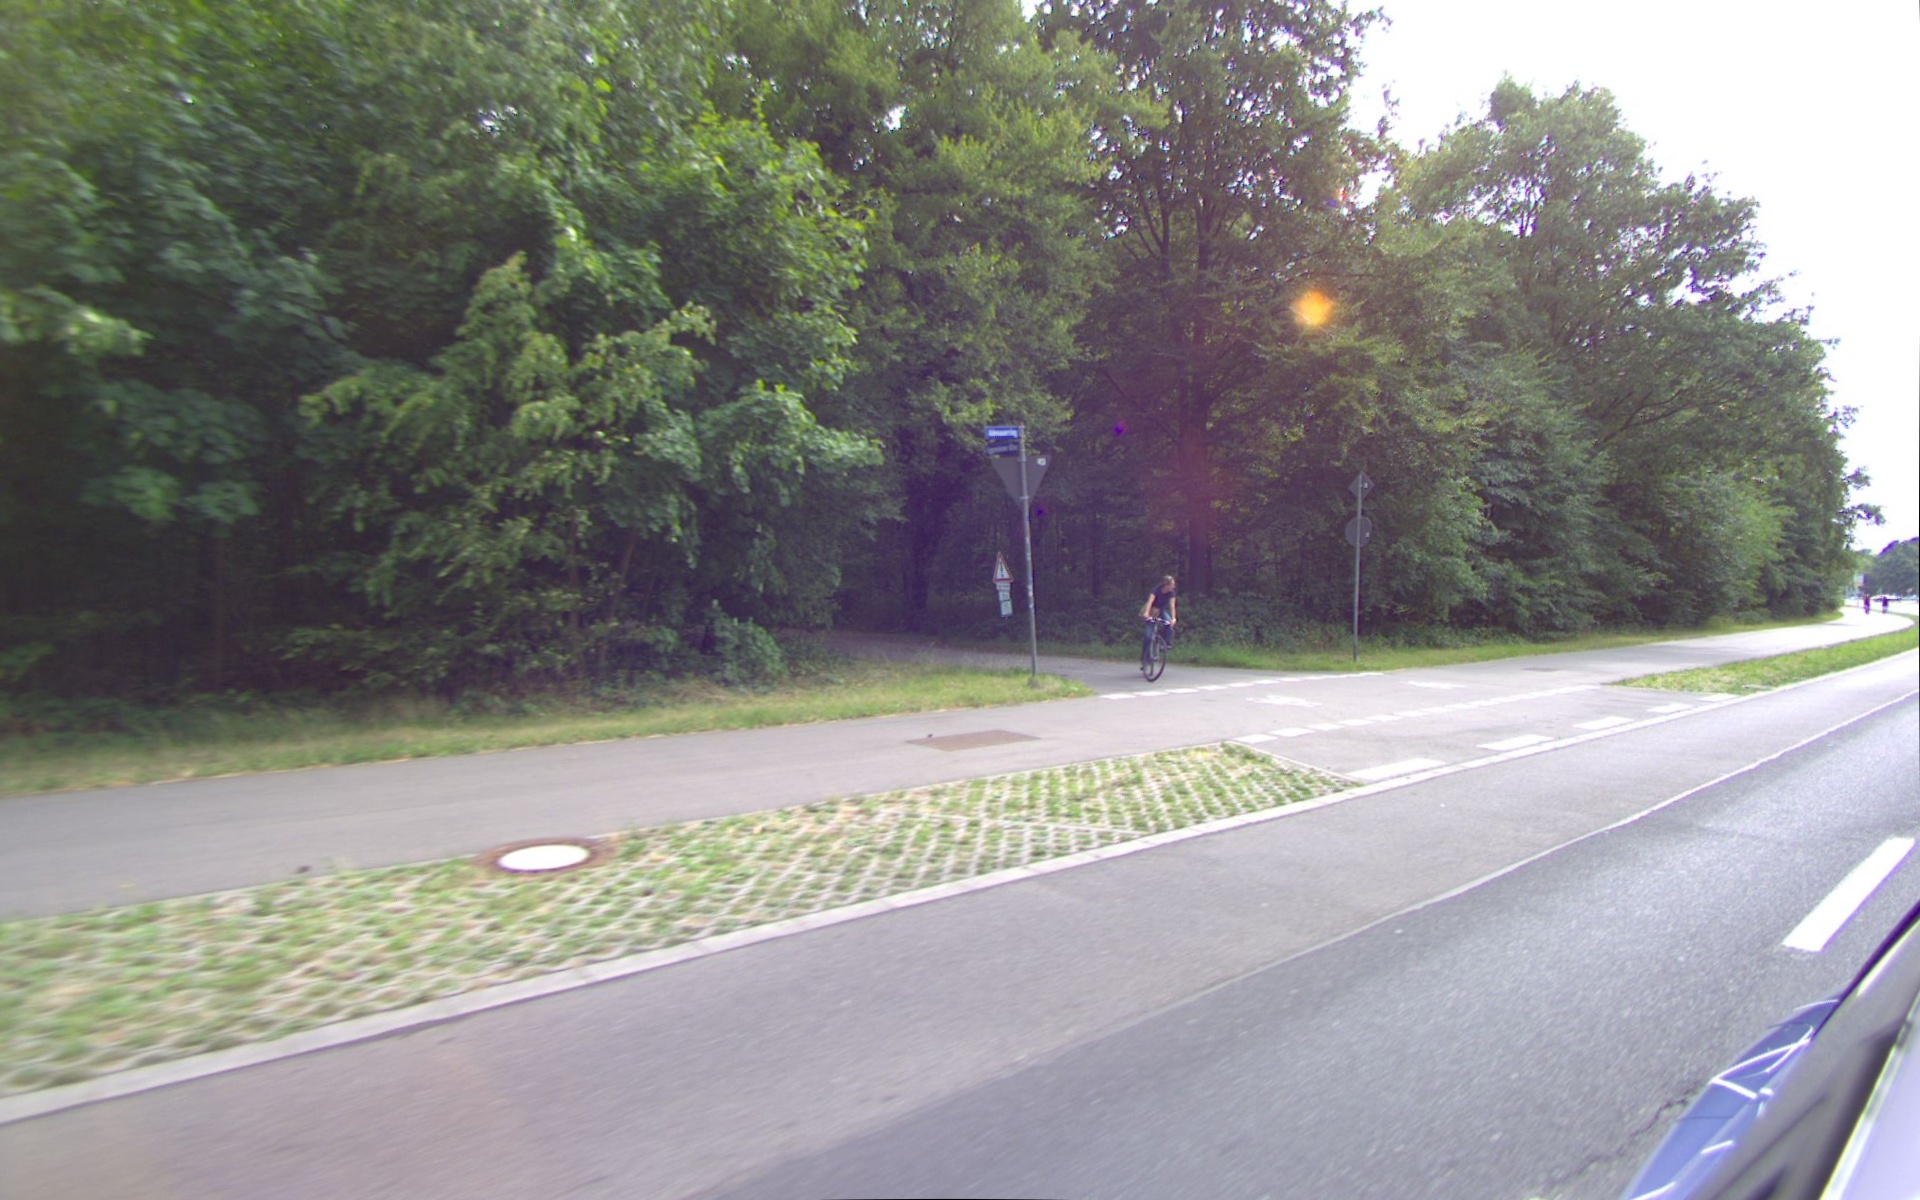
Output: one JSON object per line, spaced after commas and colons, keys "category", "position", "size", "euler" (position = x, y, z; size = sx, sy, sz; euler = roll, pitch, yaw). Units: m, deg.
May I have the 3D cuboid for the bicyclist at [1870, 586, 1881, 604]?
{"category": "bicyclist", "position": [73.259, -0.415, 80.975], "size": [0.518, 1.433, 1.170], "euler": [-1, 0, 38]}

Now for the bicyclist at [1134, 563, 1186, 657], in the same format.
{"category": "bicyclist", "position": [3.264, 0.151, 16.494], "size": [0.702, 1.489, 0.896], "euler": [0, 0, 20]}

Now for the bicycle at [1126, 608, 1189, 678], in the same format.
{"category": "bicycle", "position": [3.247, 0.660, 16.491], "size": [0.702, 1.006, 2.167], "euler": [1, 1, 19]}

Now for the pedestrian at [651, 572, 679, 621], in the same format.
{"category": "pedestrian", "position": [-10.738, -0.123, 36.820], "size": [0.745, 1.730, 0.663], "euler": [-1, -1, -44]}

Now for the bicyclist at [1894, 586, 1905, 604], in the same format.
{"category": "bicyclist", "position": [74.344, -0.390, 80.055], "size": [0.519, 1.433, 1.170], "euler": [1, 1, 38]}

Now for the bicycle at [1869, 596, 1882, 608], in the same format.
{"category": "bicycle", "position": [73.292, 0.192, 81.005], "size": [0.565, 0.923, 1.861], "euler": [4, 2, 38]}

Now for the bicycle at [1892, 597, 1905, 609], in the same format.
{"category": "bicycle", "position": [74.328, 0.236, 80.139], "size": [0.565, 0.923, 1.730], "euler": [4, 3, 38]}
